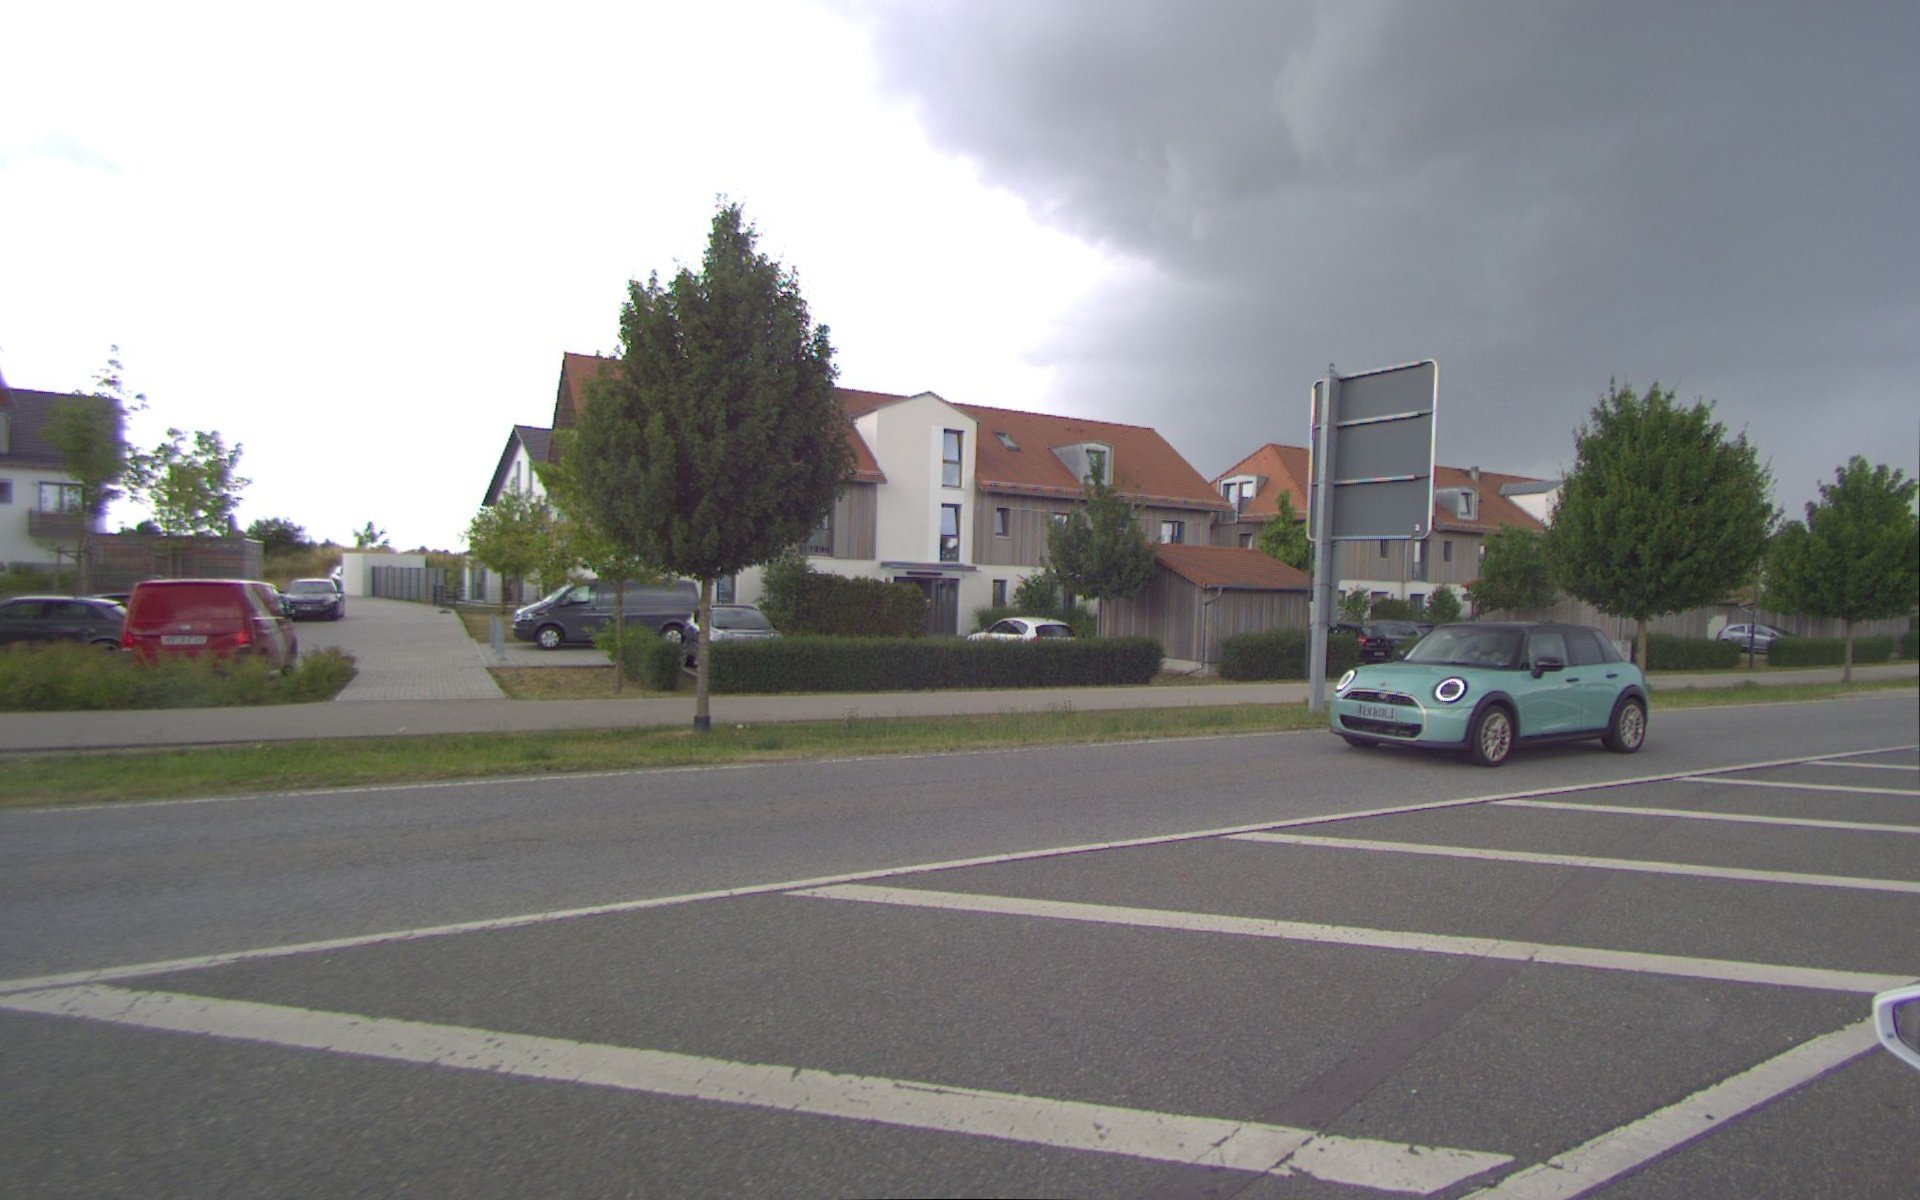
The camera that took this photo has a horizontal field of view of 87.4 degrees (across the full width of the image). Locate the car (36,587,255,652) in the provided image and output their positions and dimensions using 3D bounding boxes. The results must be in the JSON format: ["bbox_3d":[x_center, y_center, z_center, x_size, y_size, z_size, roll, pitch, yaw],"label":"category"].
[{"bbox_3d":[-20.257,0.486,25.221,3.953,1.528,1.984,1,0,-30],"label":"car"}]

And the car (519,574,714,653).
[{"bbox_3d":[-9.996,0.399,29.300,5.133,2.041,1.986,1,4,-27],"label":"car"}]

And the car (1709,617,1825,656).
[{"bbox_3d":[39.795,1.776,49.611,1.975,1.577,3.970,1,3,-28],"label":"car"}]

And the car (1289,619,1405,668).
[{"bbox_3d":[13.118,1.433,34.208,1.545,1.509,3.498,1,0,-29],"label":"car"}]

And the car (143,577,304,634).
[{"bbox_3d":[-23.262,0.156,31.935,3.954,1.548,1.560,0,7,-31],"label":"car"}]

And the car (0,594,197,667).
[{"bbox_3d":[-18.646,0.617,21.059,3.953,1.439,1.867,1,0,-30],"label":"car"}]

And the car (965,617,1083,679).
[{"bbox_3d":[1.687,1.257,27.360,1.545,1.509,3.498,1,0,-29],"label":"car"}]

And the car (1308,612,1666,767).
[{"bbox_3d":[5.998,0.893,11.345,3.953,1.463,1.762,1,0,-30],"label":"car"}]

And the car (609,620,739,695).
[{"bbox_3d":[-6.734,1.241,23.274,1.882,1.449,4.885,1,0,-28],"label":"car"}]

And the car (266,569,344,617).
[{"bbox_3d":[-23.866,-0.231,36.740,1.975,1.607,3.972,1,0,-27],"label":"car"}]

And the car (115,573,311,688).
[{"bbox_3d":[-13.726,0.504,18.795,1.880,1.840,4.892,1,0,-24],"label":"car"}]
